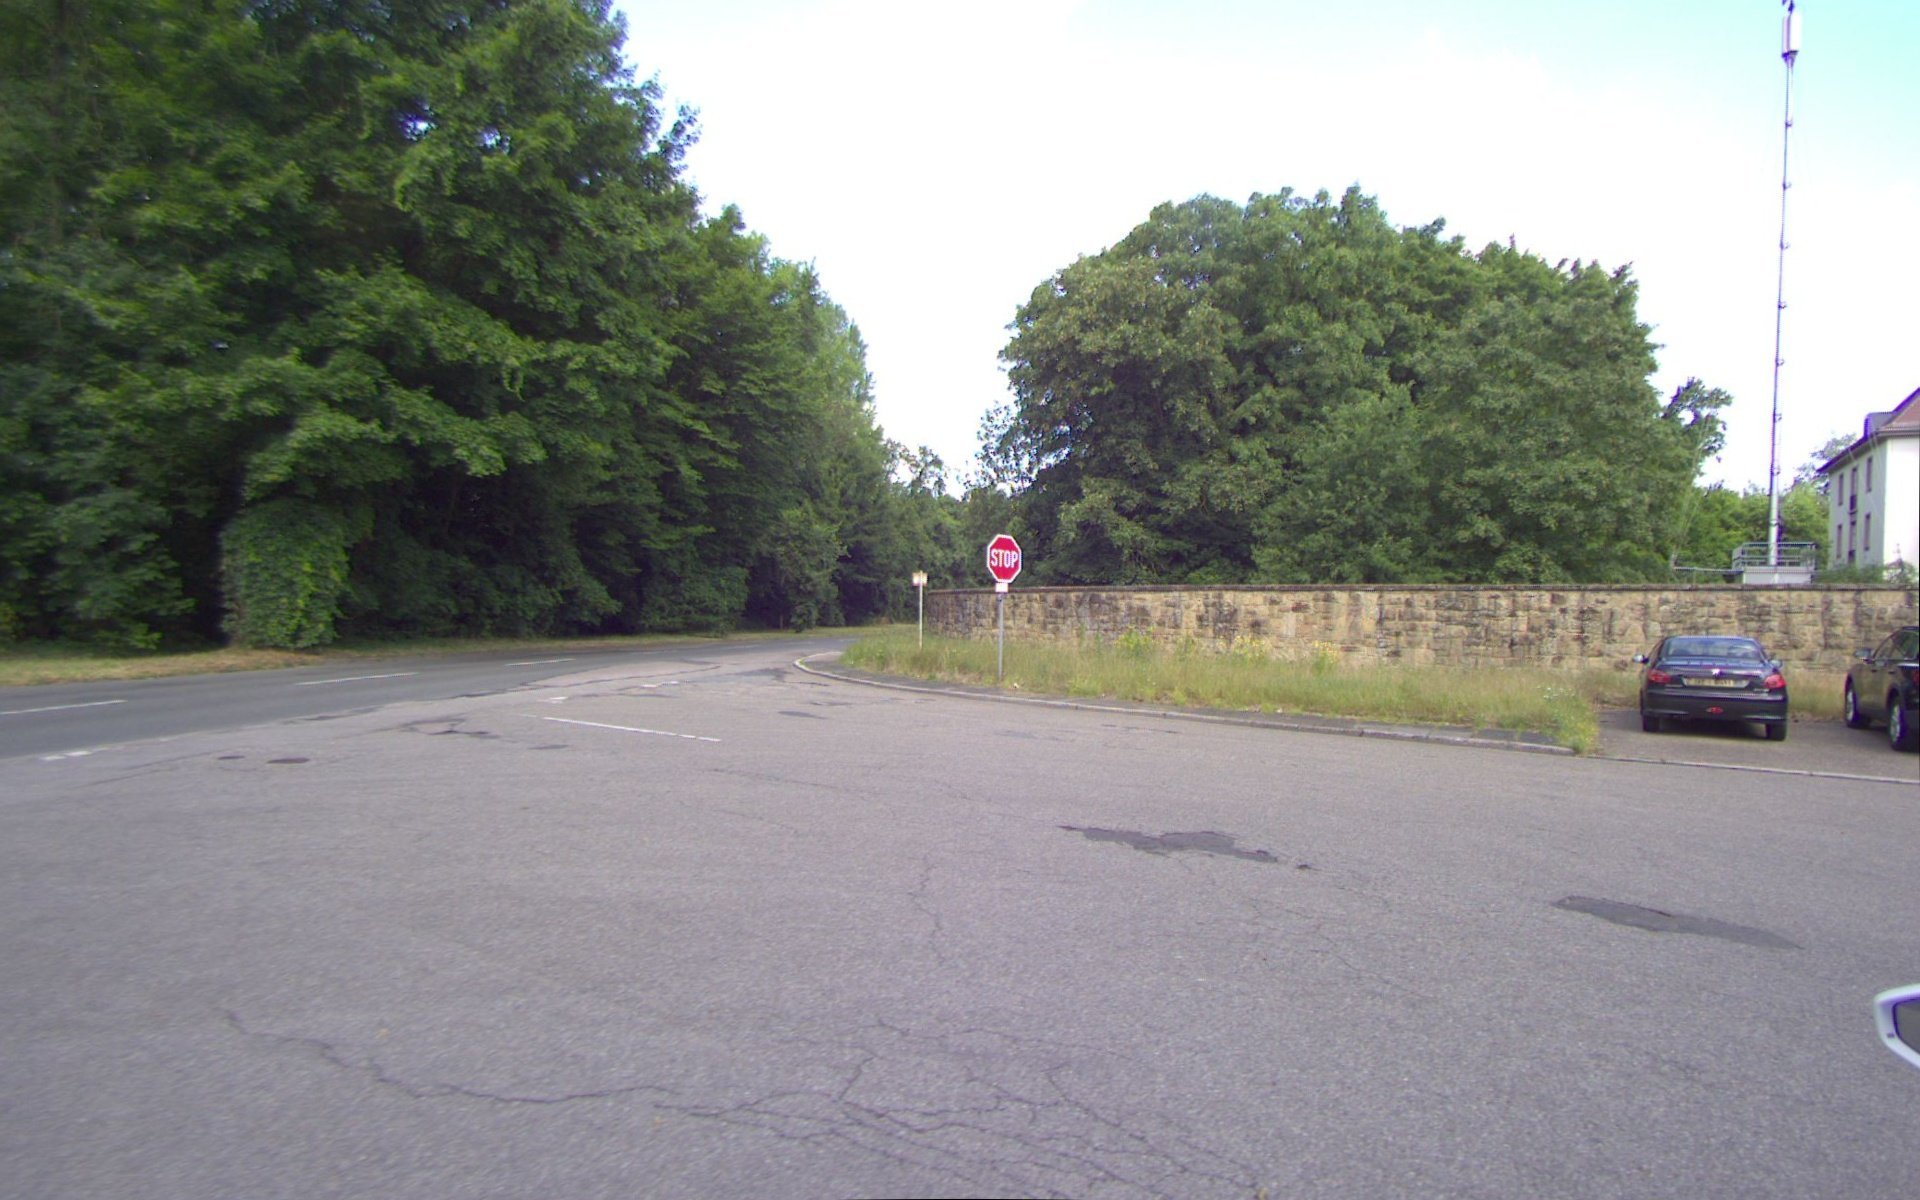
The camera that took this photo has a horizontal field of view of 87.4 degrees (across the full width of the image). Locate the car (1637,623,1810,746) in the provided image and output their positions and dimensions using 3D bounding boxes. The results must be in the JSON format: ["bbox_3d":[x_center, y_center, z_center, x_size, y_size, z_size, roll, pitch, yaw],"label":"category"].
[{"bbox_3d":[11.447,1.144,15.233,1.849,1.461,3.986,1,1,35],"label":"car"}]

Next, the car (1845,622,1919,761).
[{"bbox_3d":[13.170,1.137,13.177,1.868,1.567,3.987,1,1,35],"label":"car"}]
